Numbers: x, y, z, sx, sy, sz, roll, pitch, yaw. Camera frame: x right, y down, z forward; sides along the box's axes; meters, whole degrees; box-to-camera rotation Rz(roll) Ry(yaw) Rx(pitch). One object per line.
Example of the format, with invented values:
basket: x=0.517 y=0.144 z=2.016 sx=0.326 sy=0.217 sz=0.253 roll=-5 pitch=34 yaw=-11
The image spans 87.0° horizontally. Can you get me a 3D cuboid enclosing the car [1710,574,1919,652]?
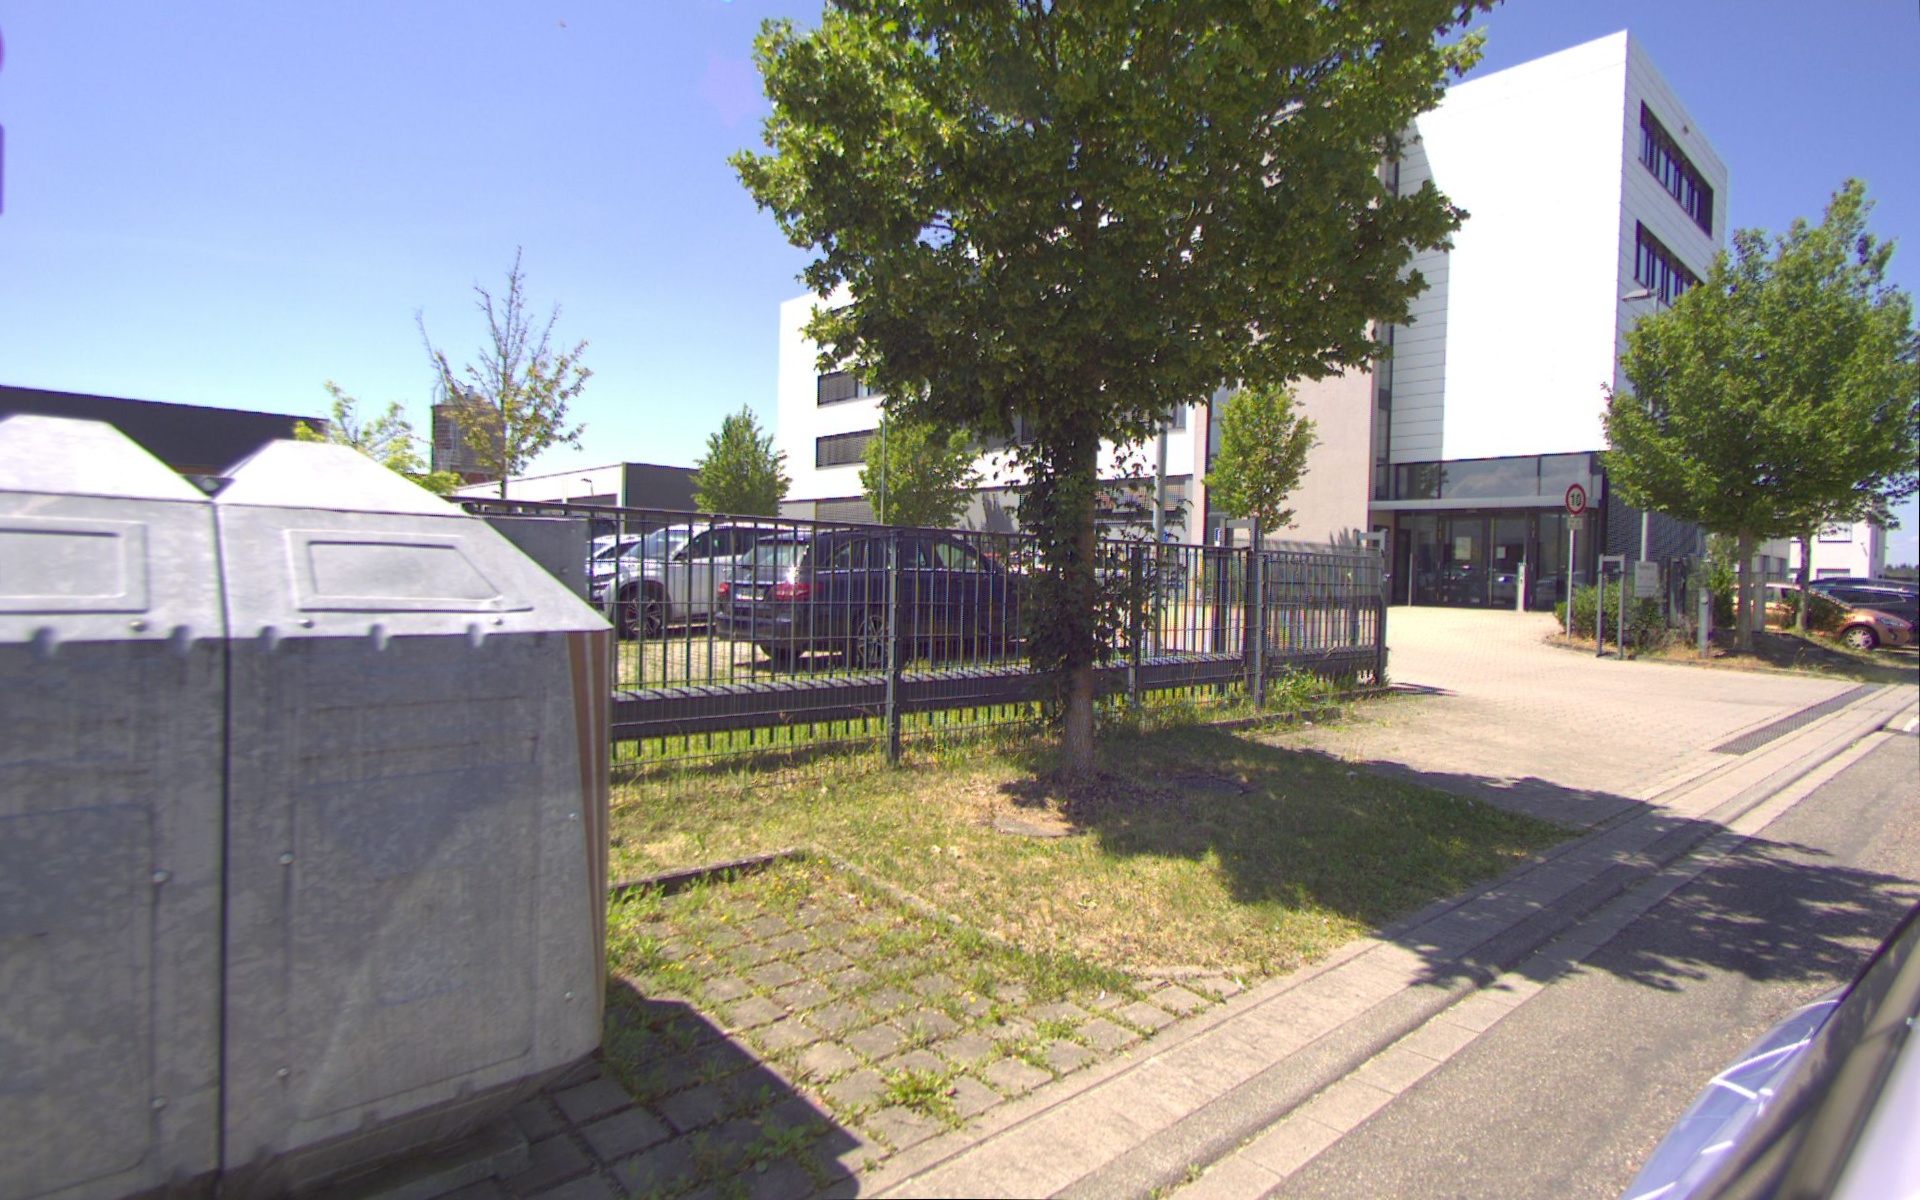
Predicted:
car: x=20.087 y=0.260 z=23.517 sx=1.695 sy=1.513 sz=3.993 roll=0 pitch=3 yaw=-43

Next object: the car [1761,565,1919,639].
car: x=24.327 y=0.031 z=27.248 sx=1.693 sy=1.787 sz=3.999 roll=1 pitch=3 yaw=-38

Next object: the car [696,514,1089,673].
car: x=-0.609 y=-0.164 z=11.519 sx=4.337 sy=1.472 sz=1.791 roll=-2 pitch=4 yaw=-44

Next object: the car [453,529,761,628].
car: x=-5.807 y=-0.417 z=17.062 sx=4.574 sy=1.450 sz=1.841 roll=-2 pitch=4 yaw=-44

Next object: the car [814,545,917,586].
car: x=-3.833 y=-1.419 z=41.504 sx=4.043 sy=1.570 sz=1.618 roll=-1 pitch=4 yaw=-42

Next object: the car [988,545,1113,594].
car: x=3.130 y=-1.031 z=34.524 sx=4.148 sy=1.548 sz=1.810 roll=-1 pitch=3 yaw=-39

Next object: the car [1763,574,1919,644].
car: x=22.497 y=0.208 z=25.157 sx=1.752 sy=1.513 sz=3.717 roll=0 pitch=3 yaw=-43

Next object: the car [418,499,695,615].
car: x=-7.431 y=-0.817 z=18.939 sx=4.442 sy=1.923 sz=1.914 roll=-2 pitch=4 yaw=-44

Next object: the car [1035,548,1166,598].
car: x=4.547 y=-0.882 z=32.414 sx=4.148 sy=1.478 sz=1.810 roll=-1 pitch=3 yaw=-39

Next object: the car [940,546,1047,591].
car: x=1.248 y=-1.145 z=36.595 sx=3.718 sy=1.513 sz=1.619 roll=-1 pitch=3 yaw=-39

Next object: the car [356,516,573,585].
car: x=-12.112 y=-1.218 z=24.923 sx=4.442 sy=1.552 sz=1.914 roll=-2 pitch=4 yaw=-44

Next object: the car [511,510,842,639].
car: x=-4.179 y=-0.440 z=15.475 sx=4.574 sy=1.673 sz=1.841 roll=-2 pitch=4 yaw=-44

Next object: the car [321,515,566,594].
car: x=-11.261 y=-1.005 z=22.262 sx=4.442 sy=1.552 sz=1.914 roll=-2 pitch=4 yaw=-44

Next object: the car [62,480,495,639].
car: x=-7.825 y=-0.379 z=11.872 sx=3.955 sy=1.511 sz=1.648 roll=3 pitch=0 yaw=-44

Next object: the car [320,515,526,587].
car: x=-14.042 y=-1.293 z=26.634 sx=4.457 sy=1.735 sz=1.914 roll=-2 pitch=4 yaw=-44

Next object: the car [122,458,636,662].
car: x=-5.683 y=-0.284 z=10.250 sx=4.170 sy=1.643 sz=1.791 roll=3 pitch=0 yaw=-44
